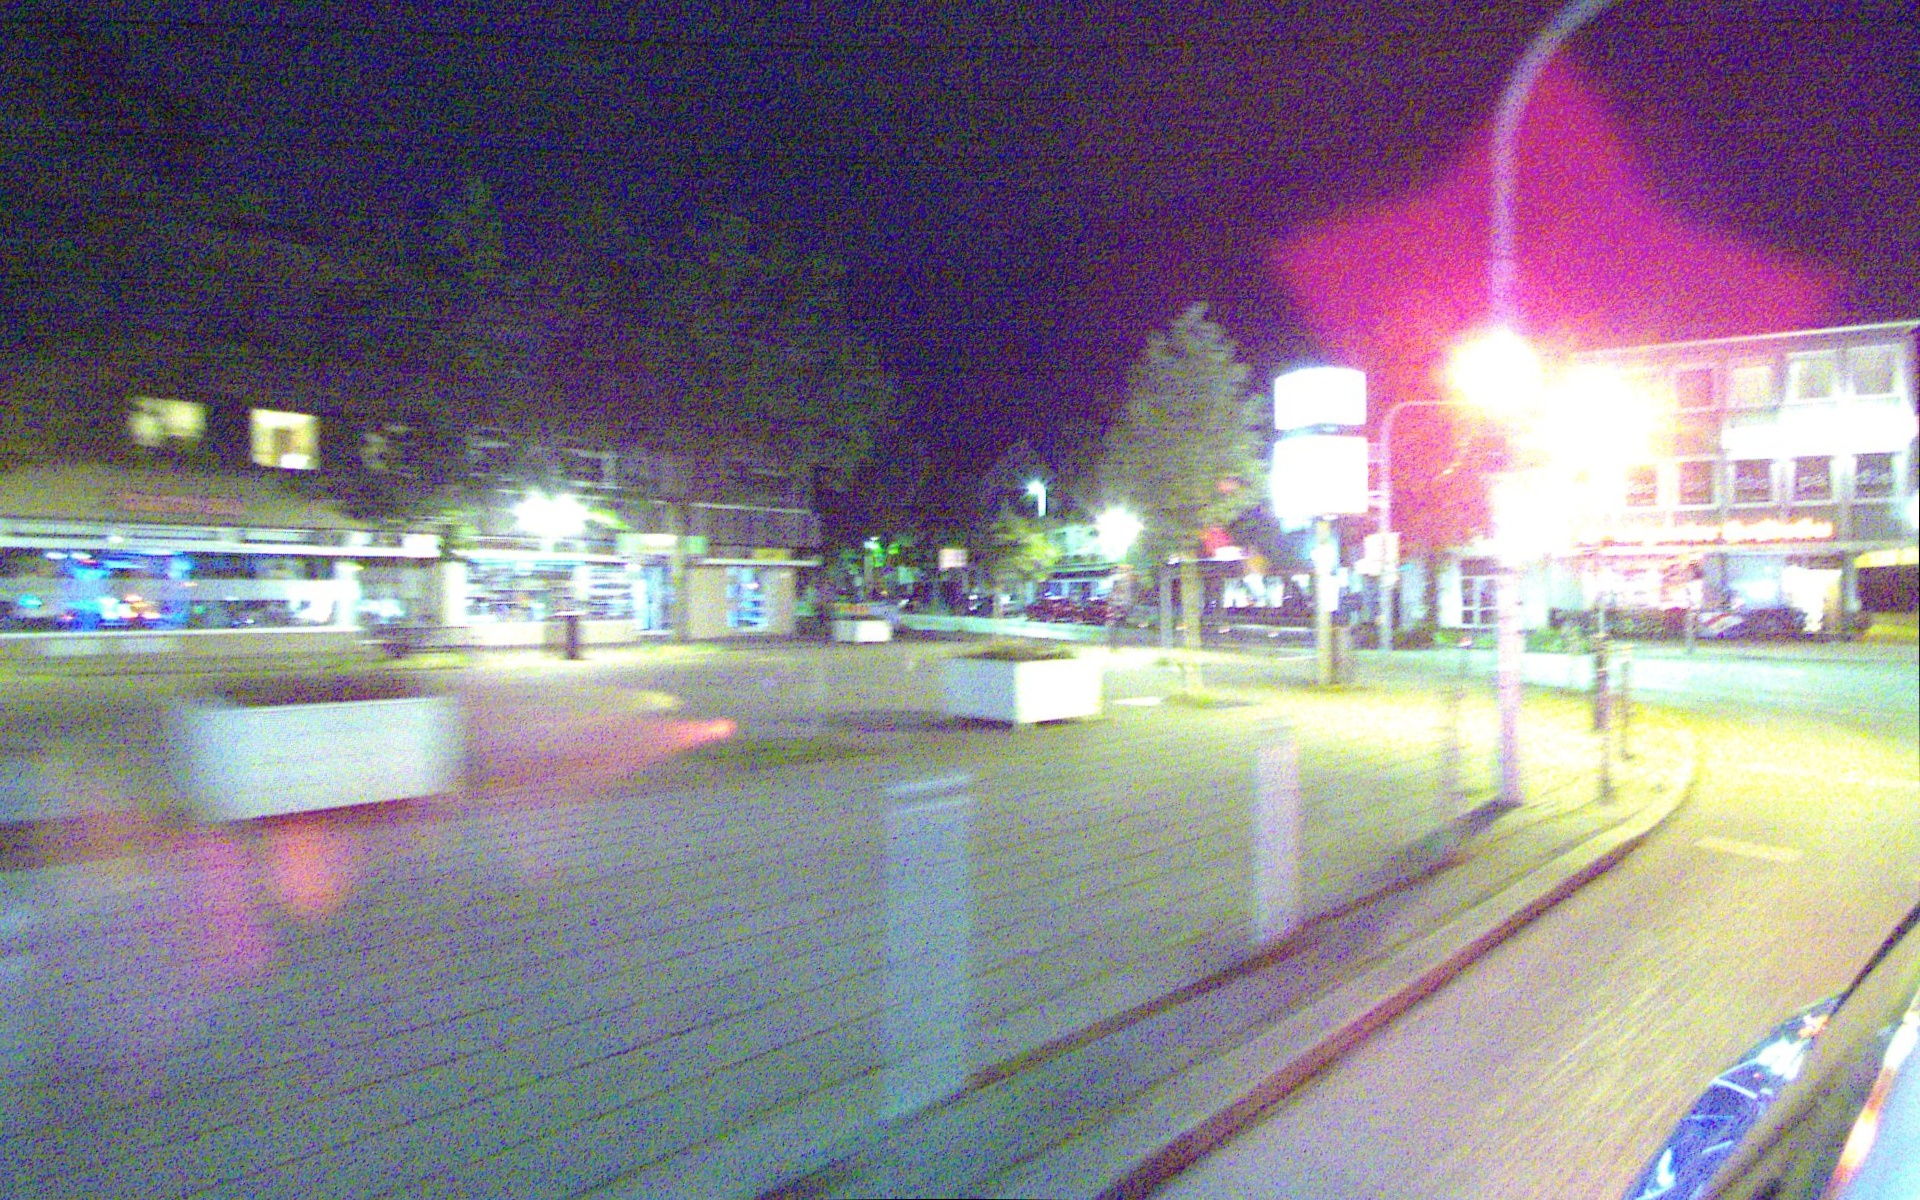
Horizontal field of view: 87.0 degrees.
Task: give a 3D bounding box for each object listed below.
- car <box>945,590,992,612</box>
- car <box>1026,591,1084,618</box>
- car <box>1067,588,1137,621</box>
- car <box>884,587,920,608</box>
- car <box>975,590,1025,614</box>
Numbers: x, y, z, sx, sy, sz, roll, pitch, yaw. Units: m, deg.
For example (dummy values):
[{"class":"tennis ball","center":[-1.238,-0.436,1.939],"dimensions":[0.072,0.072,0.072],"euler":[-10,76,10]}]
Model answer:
[{"class":"car","center":[0.552,0.069,70.761],"dimensions":[1.855,1.471,3.903],"euler":[2,0,-22]},{"class":"car","center":[5.534,0.247,59.464],"dimensions":[1.855,1.471,3.903],"euler":[2,0,-19]},{"class":"car","center":[7.690,0.246,55.135],"dimensions":[1.836,1.674,3.868],"euler":[2,0,-29]},{"class":"car","center":[-4.792,-0.221,83.047],"dimensions":[1.970,1.646,3.903],"euler":[2,0,-19]},{"class":"car","center":[2.599,0.132,66.423],"dimensions":[1.855,1.471,3.903],"euler":[2,0,-22]}]
